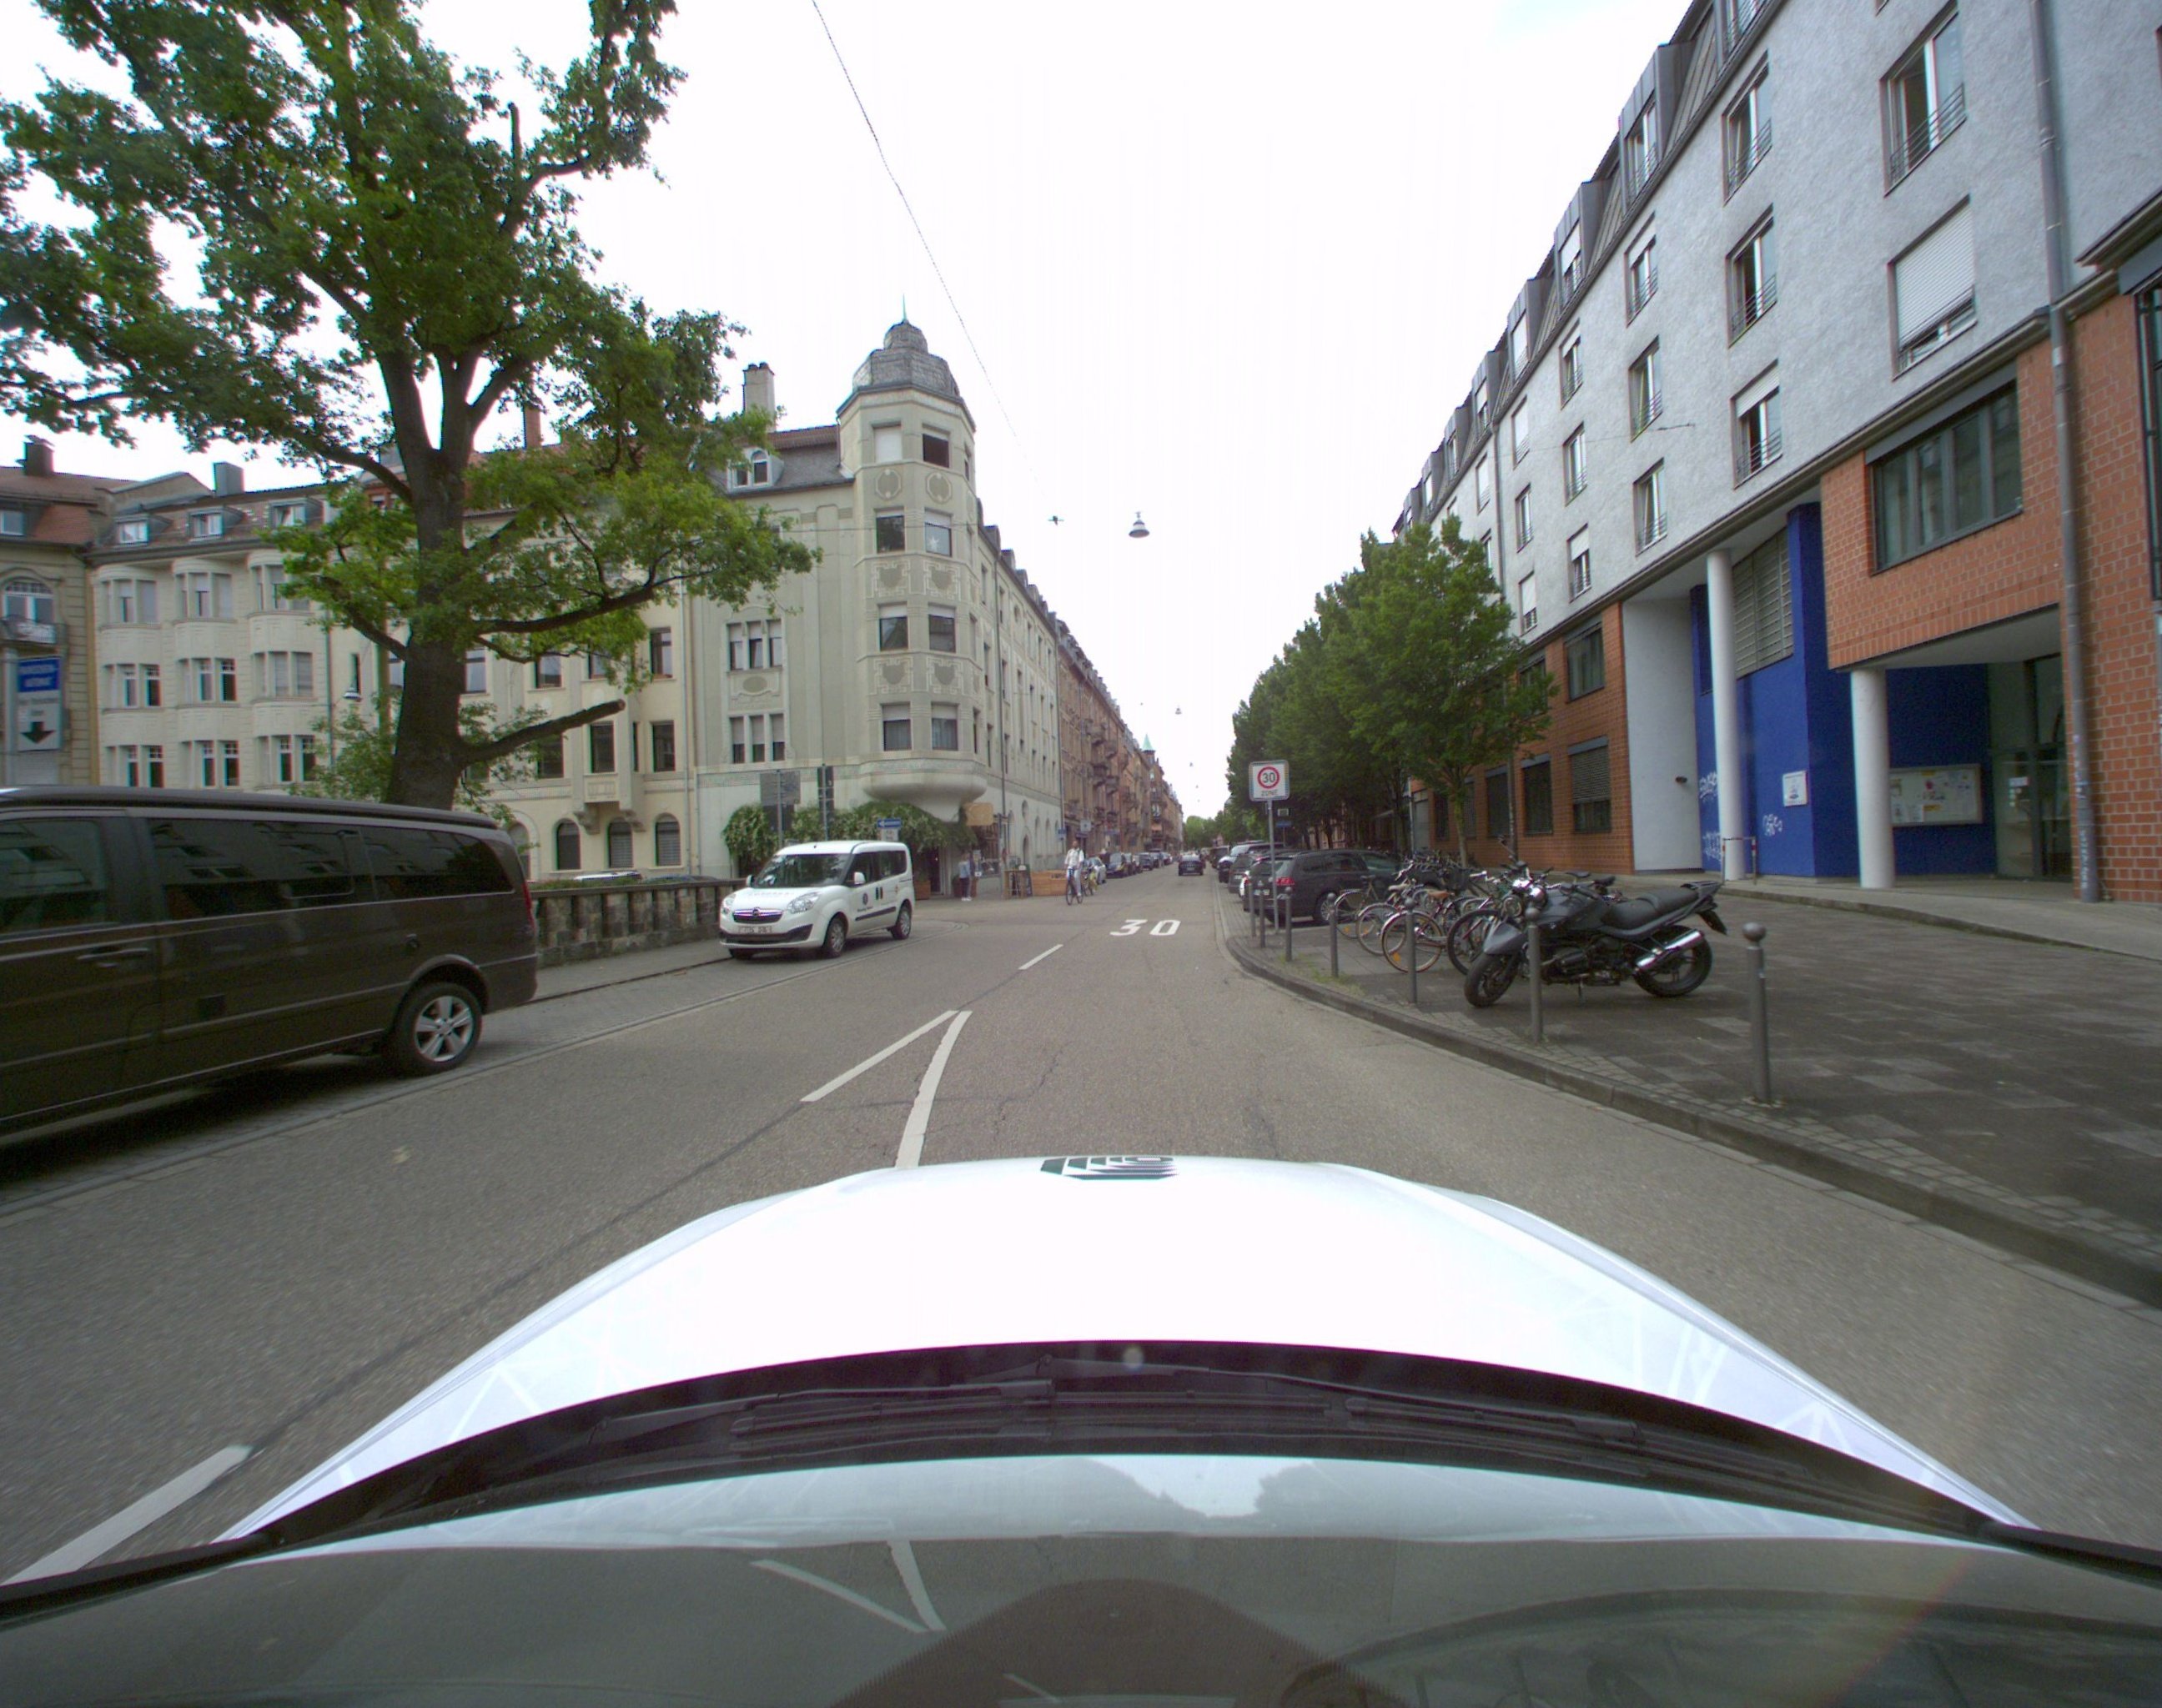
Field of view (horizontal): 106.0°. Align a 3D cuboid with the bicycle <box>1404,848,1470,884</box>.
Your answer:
[{"bbox_3d":[11.261,0.386,25.806,1.825,1.092,0.544,-2,-2,8],"label":"bicycle"}]

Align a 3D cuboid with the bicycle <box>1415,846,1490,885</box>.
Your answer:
[{"bbox_3d":[11.105,0.358,24.396,1.922,1.092,0.578,-2,-2,8],"label":"bicycle"}]

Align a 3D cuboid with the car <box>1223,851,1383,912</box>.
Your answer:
[{"bbox_3d":[6.123,0.693,22.486,3.990,1.543,1.861,0,0,-23],"label":"car"}]

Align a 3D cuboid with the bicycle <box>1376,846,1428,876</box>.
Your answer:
[{"bbox_3d":[12.396,0.272,31.463,1.742,1.092,0.566,-2,-2,8],"label":"bicycle"}]

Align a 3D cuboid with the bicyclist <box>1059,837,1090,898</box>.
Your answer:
[{"bbox_3d":[-0.189,0.424,25.656,0.777,1.866,0.716,-2,0,10],"label":"bicyclist"}]

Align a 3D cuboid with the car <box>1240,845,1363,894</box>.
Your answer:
[{"bbox_3d":[7.758,0.535,28.642,4.070,1.486,1.667,-3,-1,-28],"label":"car"}]

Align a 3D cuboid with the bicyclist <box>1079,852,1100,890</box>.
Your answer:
[{"bbox_3d":[0.336,0.651,31.083,0.665,1.399,0.785,-2,-2,6],"label":"bicyclist"}]

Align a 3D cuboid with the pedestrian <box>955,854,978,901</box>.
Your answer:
[{"bbox_3d":[-4.160,0.853,29.636,0.573,1.660,0.579,-3,-2,30],"label":"pedestrian"}]

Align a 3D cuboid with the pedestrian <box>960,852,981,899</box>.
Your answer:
[{"bbox_3d":[-4.131,0.799,30.389,0.581,1.735,0.501,-1,-2,-27],"label":"pedestrian"}]

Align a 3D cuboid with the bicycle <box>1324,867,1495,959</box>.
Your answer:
[{"bbox_3d":[4.162,0.746,10.423,1.874,1.043,0.613,-3,-2,5],"label":"bicycle"}]

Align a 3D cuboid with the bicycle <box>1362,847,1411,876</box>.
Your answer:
[{"bbox_3d":[12.434,0.311,33.198,1.742,1.092,0.566,-2,-2,8],"label":"bicycle"}]

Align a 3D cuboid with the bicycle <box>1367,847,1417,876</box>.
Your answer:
[{"bbox_3d":[12.347,0.294,32.352,1.742,1.092,0.566,-2,-2,8],"label":"bicycle"}]

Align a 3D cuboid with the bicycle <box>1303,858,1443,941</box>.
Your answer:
[{"bbox_3d":[4.443,0.686,12.495,1.874,1.141,0.613,-3,-2,5],"label":"bicycle"}]

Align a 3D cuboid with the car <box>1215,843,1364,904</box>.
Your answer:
[{"bbox_3d":[6.418,0.572,25.117,4.064,1.585,1.889,-3,-1,-23],"label":"car"}]

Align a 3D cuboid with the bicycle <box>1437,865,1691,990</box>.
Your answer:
[{"bbox_3d":[4.636,0.697,7.921,1.999,1.062,0.613,-3,-2,5],"label":"bicycle"}]

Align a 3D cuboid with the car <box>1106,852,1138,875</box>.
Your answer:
[{"bbox_3d":[3.027,0.684,59.557,1.933,1.617,3.952,-1,0,9],"label":"car"}]

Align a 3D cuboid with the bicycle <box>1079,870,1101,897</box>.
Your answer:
[{"bbox_3d":[0.353,1.102,30.958,0.532,0.977,1.869,-2,-1,8],"label":"bicycle"}]

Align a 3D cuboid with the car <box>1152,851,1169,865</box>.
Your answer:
[{"bbox_3d":[10.235,0.485,104.799,1.933,1.738,3.952,-2,0,9],"label":"car"}]

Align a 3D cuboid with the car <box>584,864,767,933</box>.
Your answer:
[{"bbox_3d":[-10.866,1.178,21.953,4.036,1.607,1.772,-3,-1,6],"label":"car"}]

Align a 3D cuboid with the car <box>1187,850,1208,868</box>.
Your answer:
[{"bbox_3d":[11.770,0.549,82.424,1.982,1.681,4.008,-2,-1,8],"label":"car"}]

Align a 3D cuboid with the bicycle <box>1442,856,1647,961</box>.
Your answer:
[{"bbox_3d":[5.310,0.624,9.420,1.919,1.077,0.613,-3,-2,5],"label":"bicycle"}]

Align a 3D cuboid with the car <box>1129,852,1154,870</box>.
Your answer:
[{"bbox_3d":[5.639,0.621,75.587,1.933,1.617,3.951,-2,0,8],"label":"car"}]

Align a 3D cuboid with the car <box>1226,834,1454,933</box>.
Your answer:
[{"bbox_3d":[5.347,0.554,16.799,4.294,1.578,1.848,-4,0,-25],"label":"car"}]

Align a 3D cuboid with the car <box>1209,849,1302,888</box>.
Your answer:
[{"bbox_3d":[7.834,0.643,36.435,3.877,1.505,1.753,-3,-1,-32],"label":"car"}]

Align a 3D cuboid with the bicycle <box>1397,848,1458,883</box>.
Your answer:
[{"bbox_3d":[11.561,0.383,27.206,1.742,1.092,0.566,-2,-2,8],"label":"bicycle"}]

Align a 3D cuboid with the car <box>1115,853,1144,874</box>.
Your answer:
[{"bbox_3d":[3.988,0.779,66.514,1.933,1.617,3.951,-1,0,8],"label":"car"}]

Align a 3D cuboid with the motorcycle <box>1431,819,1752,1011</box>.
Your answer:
[{"bbox_3d":[4.241,0.507,6.926,2.123,1.429,0.772,-3,-2,5],"label":"motorcycle"}]

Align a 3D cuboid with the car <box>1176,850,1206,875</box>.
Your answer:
[{"bbox_3d":[7.936,0.632,58.630,1.982,1.681,4.008,-2,-1,8],"label":"car"}]

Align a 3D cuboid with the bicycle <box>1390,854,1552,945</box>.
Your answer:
[{"bbox_3d":[5.390,0.627,11.332,1.874,1.141,0.613,-3,-2,5],"label":"bicycle"}]

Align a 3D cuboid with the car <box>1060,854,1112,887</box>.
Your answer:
[{"bbox_3d":[0.299,0.848,42.827,1.931,1.553,3.829,-3,-1,11],"label":"car"}]

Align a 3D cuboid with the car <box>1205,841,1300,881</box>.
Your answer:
[{"bbox_3d":[10.538,0.397,49.994,5.636,2.127,1.934,-3,-1,-26],"label":"car"}]

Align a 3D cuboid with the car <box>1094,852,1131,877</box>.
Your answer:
[{"bbox_3d":[2.127,0.686,54.143,1.933,1.617,3.952,-1,0,9],"label":"car"}]

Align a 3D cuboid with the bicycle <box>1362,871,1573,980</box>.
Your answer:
[{"bbox_3d":[4.120,0.755,8.796,1.919,1.043,0.613,-3,-2,5],"label":"bicycle"}]

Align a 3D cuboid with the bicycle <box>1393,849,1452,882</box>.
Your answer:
[{"bbox_3d":[11.715,0.401,27.977,1.742,1.092,0.566,-2,-2,8],"label":"bicycle"}]

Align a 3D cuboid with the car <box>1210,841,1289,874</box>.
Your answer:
[{"bbox_3d":[12.008,0.247,57.991,5.414,1.992,1.934,-3,-1,-26],"label":"car"}]

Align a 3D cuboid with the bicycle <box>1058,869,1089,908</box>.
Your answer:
[{"bbox_3d":[-0.218,1.050,25.322,0.564,1.087,1.992,-2,0,10],"label":"bicycle"}]

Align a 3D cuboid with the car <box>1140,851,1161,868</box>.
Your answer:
[{"bbox_3d":[7.526,0.591,87.357,1.933,1.742,3.952,-1,0,9],"label":"car"}]

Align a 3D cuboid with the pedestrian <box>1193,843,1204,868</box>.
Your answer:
[{"bbox_3d":[10.299,0.130,71.647,0.886,2.146,1.030,-2,-2,7],"label":"pedestrian"}]

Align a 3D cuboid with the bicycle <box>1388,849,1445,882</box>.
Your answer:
[{"bbox_3d":[11.752,0.394,28.585,1.742,1.092,0.566,-2,-2,8],"label":"bicycle"}]

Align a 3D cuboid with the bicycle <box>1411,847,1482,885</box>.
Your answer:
[{"bbox_3d":[11.192,0.379,24.997,1.884,1.092,0.544,-2,-2,8],"label":"bicycle"}]

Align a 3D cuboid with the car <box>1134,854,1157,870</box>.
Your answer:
[{"bbox_3d":[6.492,0.791,81.629,1.933,1.617,3.951,-1,0,8],"label":"car"}]

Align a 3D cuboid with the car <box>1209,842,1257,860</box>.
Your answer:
[{"bbox_3d":[18.182,-0.337,97.448,5.407,1.868,1.936,-3,-1,-21],"label":"car"}]

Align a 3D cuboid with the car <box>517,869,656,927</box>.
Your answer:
[{"bbox_3d":[-17.509,1.539,28.942,3.798,1.716,1.771,-3,2,6],"label":"car"}]

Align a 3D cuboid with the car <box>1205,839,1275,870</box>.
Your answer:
[{"bbox_3d":[13.476,0.045,69.109,5.392,2.373,1.942,-3,-1,-13],"label":"car"}]

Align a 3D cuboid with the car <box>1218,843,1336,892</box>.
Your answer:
[{"bbox_3d":[7.494,0.509,31.078,4.064,1.585,1.758,-3,-1,-22],"label":"car"}]

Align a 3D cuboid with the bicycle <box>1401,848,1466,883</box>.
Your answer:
[{"bbox_3d":[11.498,0.384,26.577,1.825,1.092,0.566,-2,-2,8],"label":"bicycle"}]

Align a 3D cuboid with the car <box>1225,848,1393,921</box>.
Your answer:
[{"bbox_3d":[5.457,0.676,19.487,3.574,1.499,1.829,-2,0,-27],"label":"car"}]

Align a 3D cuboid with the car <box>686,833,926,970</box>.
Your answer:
[{"bbox_3d":[-4.406,0.678,13.957,1.831,1.939,4.561,-2,0,11],"label":"car"}]

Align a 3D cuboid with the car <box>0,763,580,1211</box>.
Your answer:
[{"bbox_3d":[-5.743,0.624,4.622,2.002,2.014,5.195,-2,0,8],"label":"car"}]
